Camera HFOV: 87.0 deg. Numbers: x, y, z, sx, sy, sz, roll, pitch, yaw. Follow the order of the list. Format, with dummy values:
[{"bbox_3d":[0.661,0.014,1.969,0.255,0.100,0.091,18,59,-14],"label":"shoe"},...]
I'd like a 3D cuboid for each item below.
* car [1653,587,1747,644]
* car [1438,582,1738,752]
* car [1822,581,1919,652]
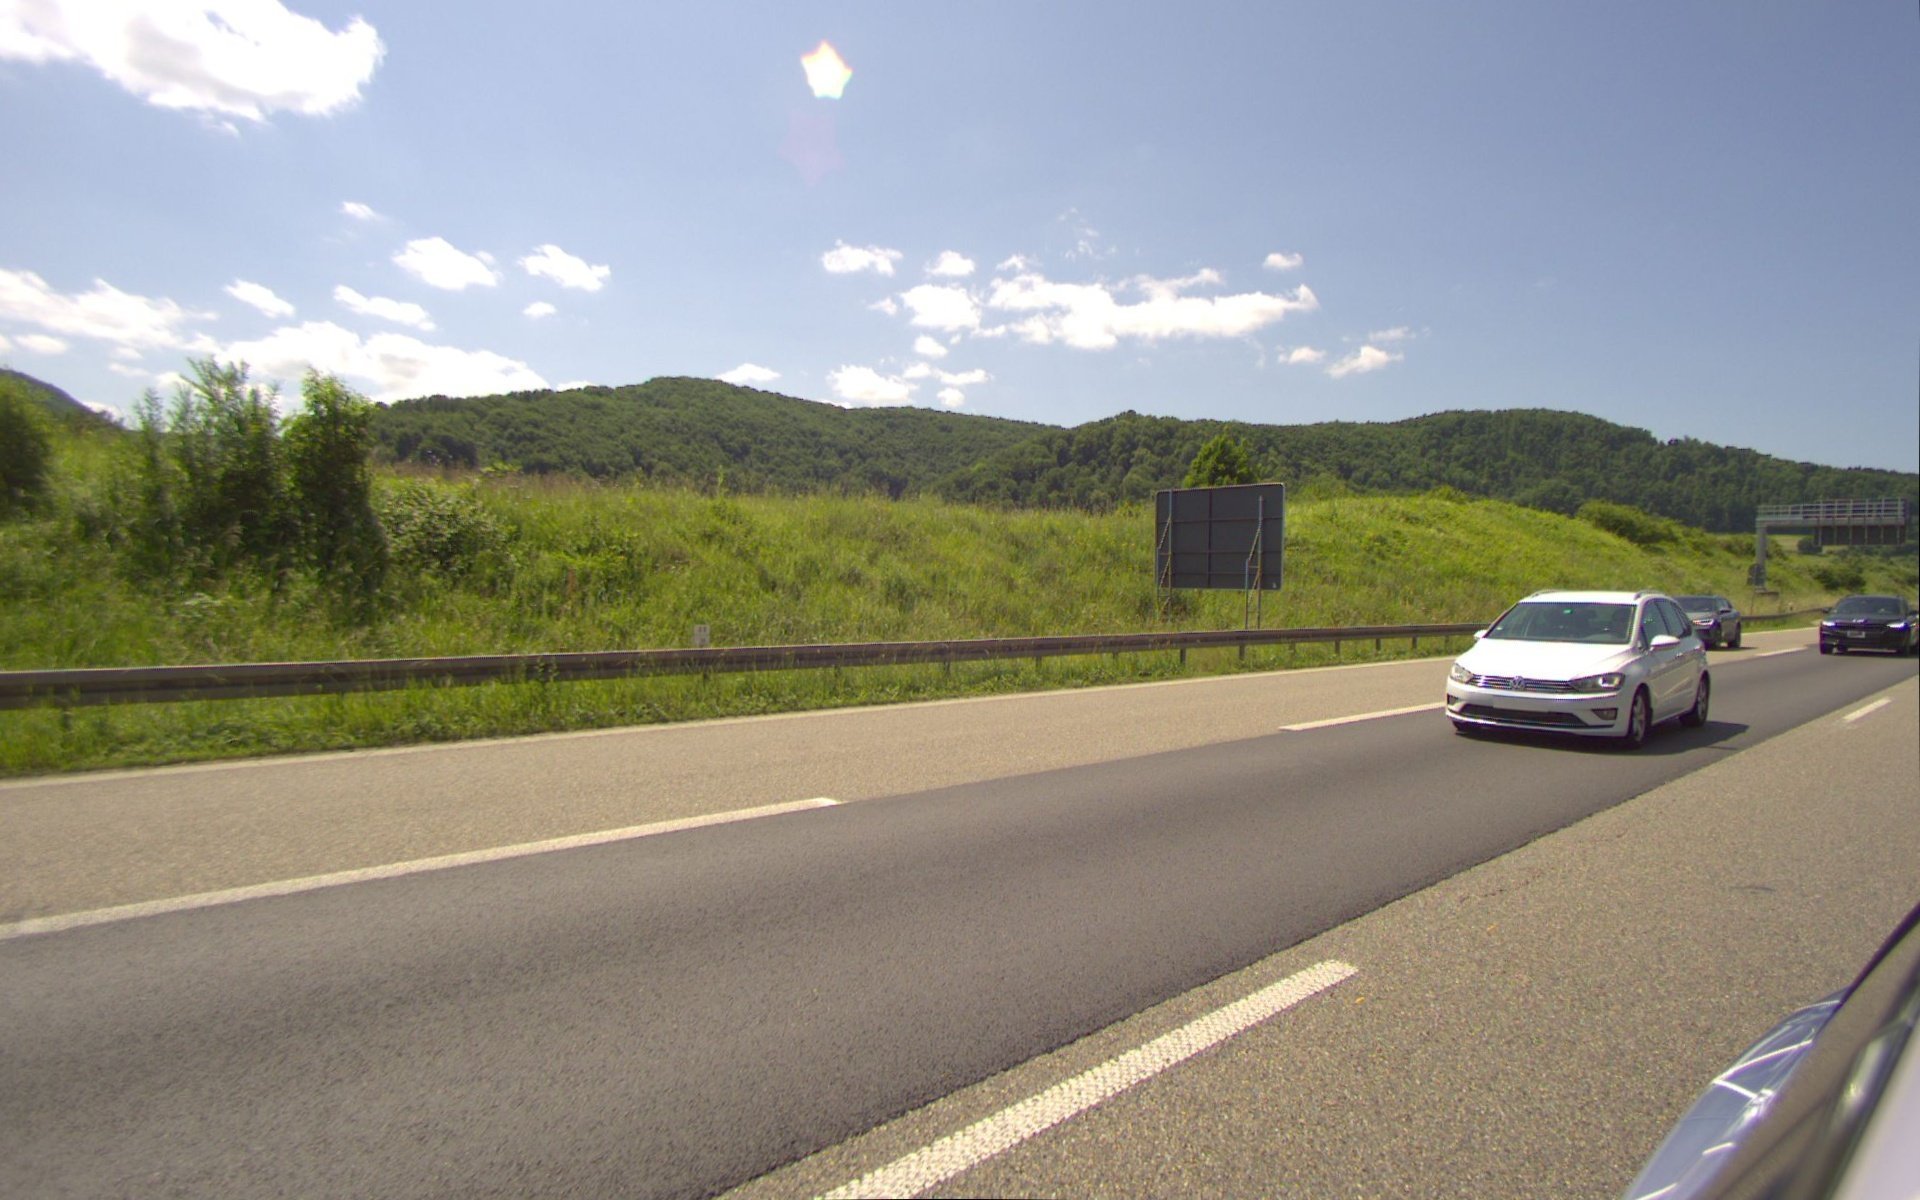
[{"bbox_3d":[22.655,0.429,30.919,4.179,1.615,1.680,0,1,-45],"label":"car"},{"bbox_3d":[7.091,0.595,11.280,3.984,1.560,1.775,0,1,-41],"label":"car"},{"bbox_3d":[25.477,0.405,28.051,4.100,1.794,1.891,0,2,-42],"label":"car"}]
